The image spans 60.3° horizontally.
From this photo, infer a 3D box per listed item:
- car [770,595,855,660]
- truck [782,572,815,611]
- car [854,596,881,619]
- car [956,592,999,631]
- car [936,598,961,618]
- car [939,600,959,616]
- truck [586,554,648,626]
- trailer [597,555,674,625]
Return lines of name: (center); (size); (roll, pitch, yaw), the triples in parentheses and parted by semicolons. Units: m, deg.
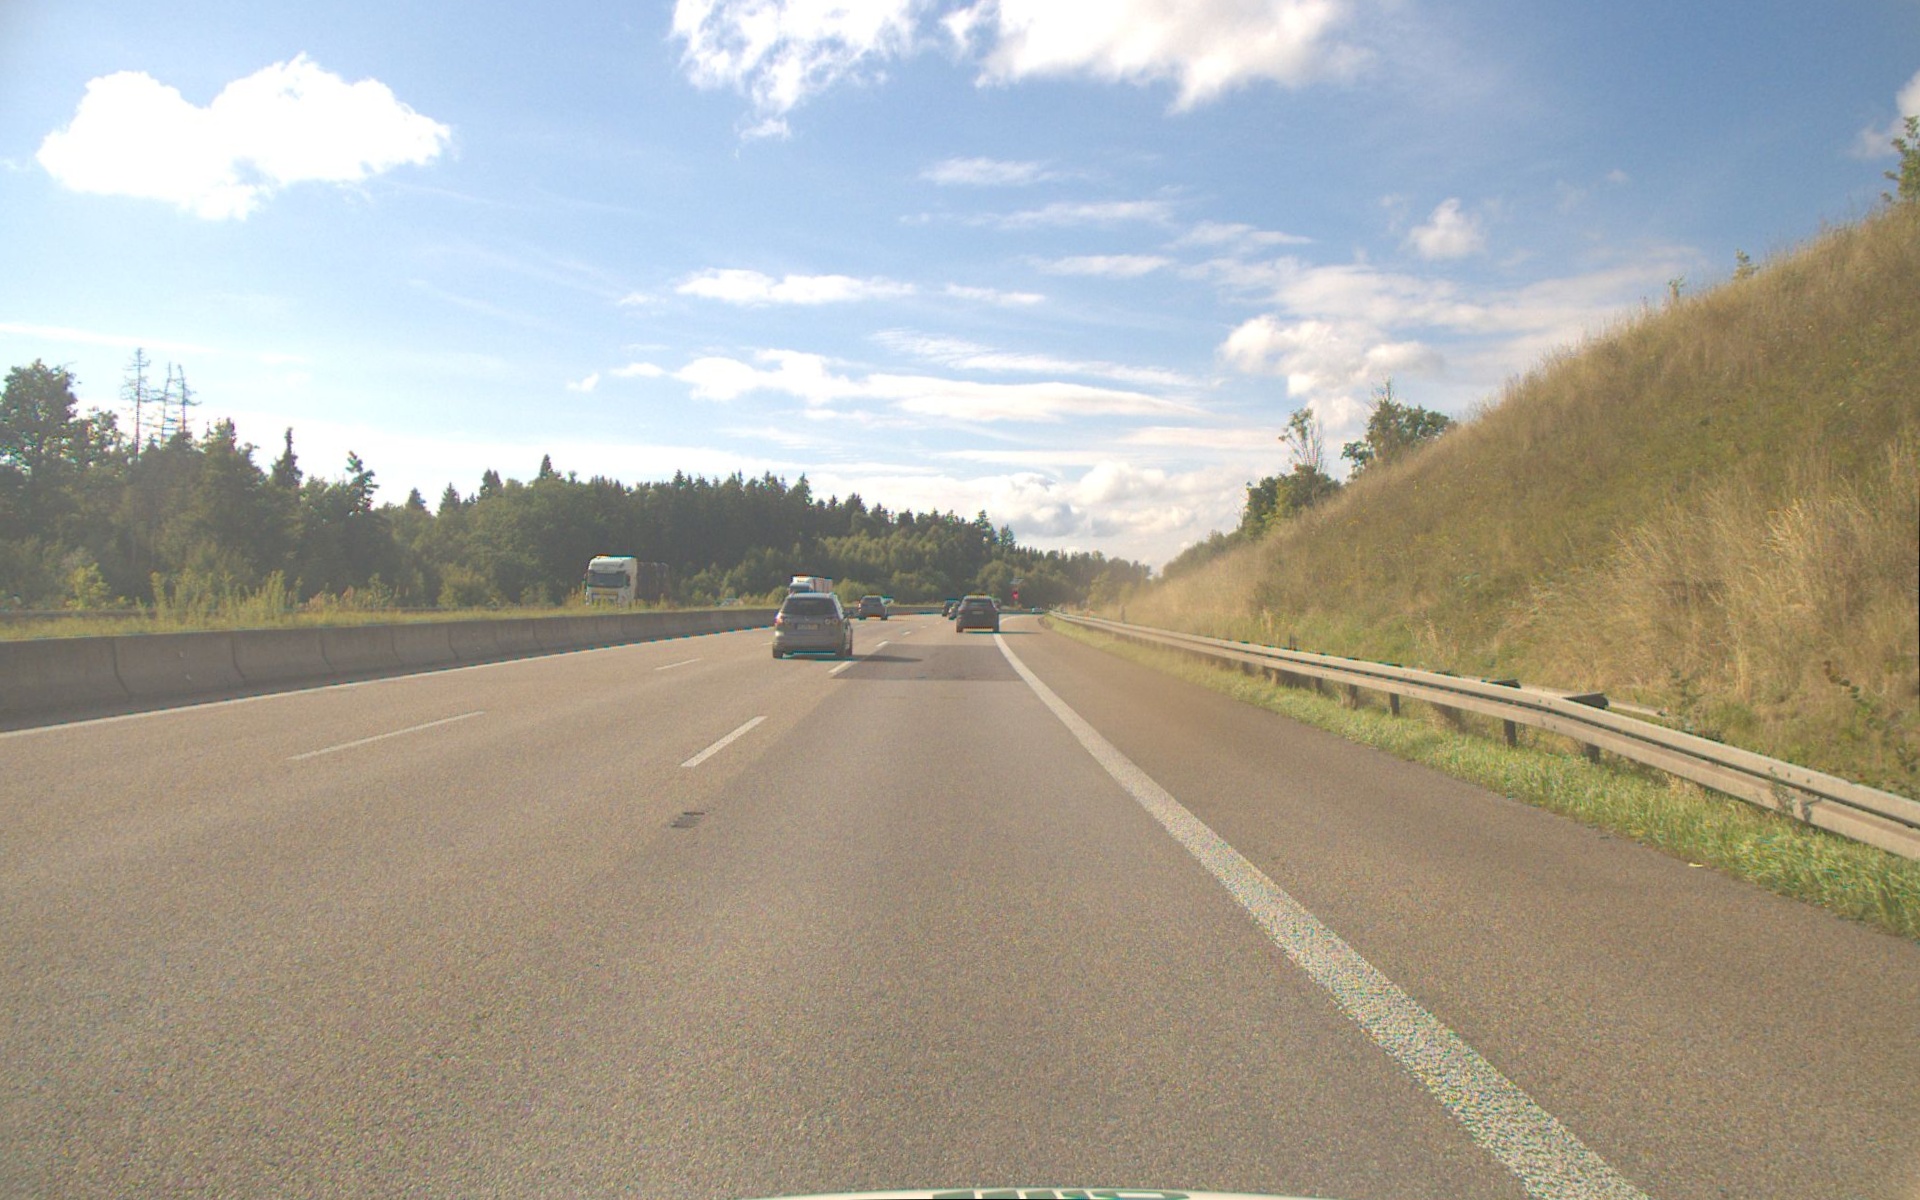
car: (-3.580, 0.643, 40.811); (1.836, 1.523, 3.878); (1, 0, -2)
truck: (-18.045, -0.935, 185.412); (2.961, 4.180, 5.670); (0, 0, 2)
car: (-6.470, 0.507, 116.141); (1.836, 1.523, 3.878); (1, 0, -2)
car: (0.761, 0.505, 74.395); (1.835, 1.704, 3.889); (1, 0, 0)
car: (-0.920, 0.617, 127.014); (1.835, 1.523, 3.879); (1, 0, -1)
car: (-1.040, 0.745, 159.625); (1.835, 1.523, 3.879); (1, 0, 0)
truck: (-21.831, -0.616, 105.553); (2.745, 4.469, 5.464); (0, 0, 0)
trailer: (-21.829, -0.636, 111.947); (2.745, 4.469, 12.050); (0, 0, 0)
